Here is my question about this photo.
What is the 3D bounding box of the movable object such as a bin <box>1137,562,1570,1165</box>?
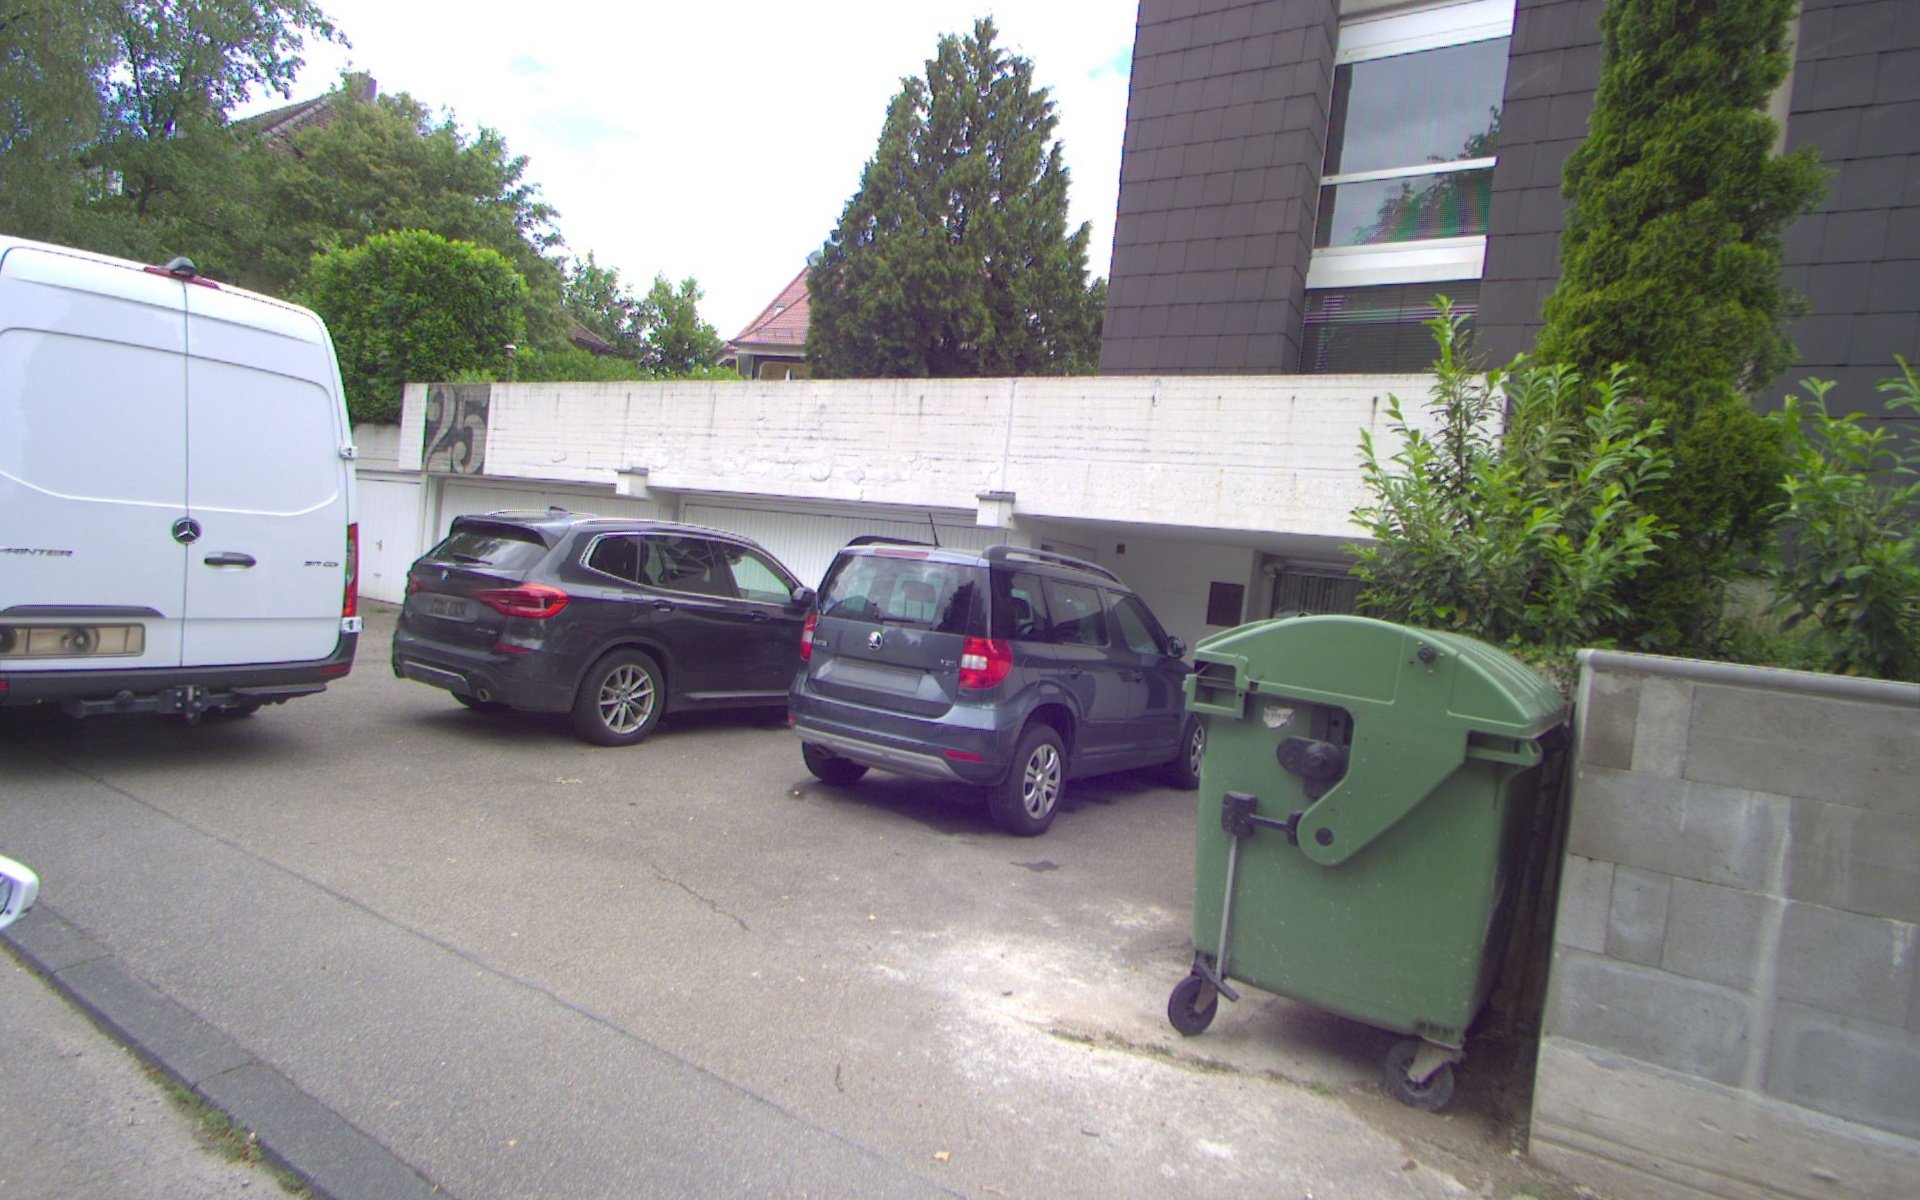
[{"bbox_3d":[1.356,0.727,3.393,1.016,1.550,1.034,7,1,33],"label":"movable object such as a bin"}]

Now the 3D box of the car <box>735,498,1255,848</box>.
[{"bbox_3d":[0.537,0.453,7.398,1.804,1.772,3.973,7,1,35],"label":"car"}]

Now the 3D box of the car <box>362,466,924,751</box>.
[{"bbox_3d":[-2.358,0.123,8.679,1.710,1.772,4.419,7,1,33],"label":"car"}]

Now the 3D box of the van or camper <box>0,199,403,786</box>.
[{"bbox_3d":[-6.702,-0.736,6.902,6.432,2.653,1.995,7,1,32],"label":"van or camper"}]
